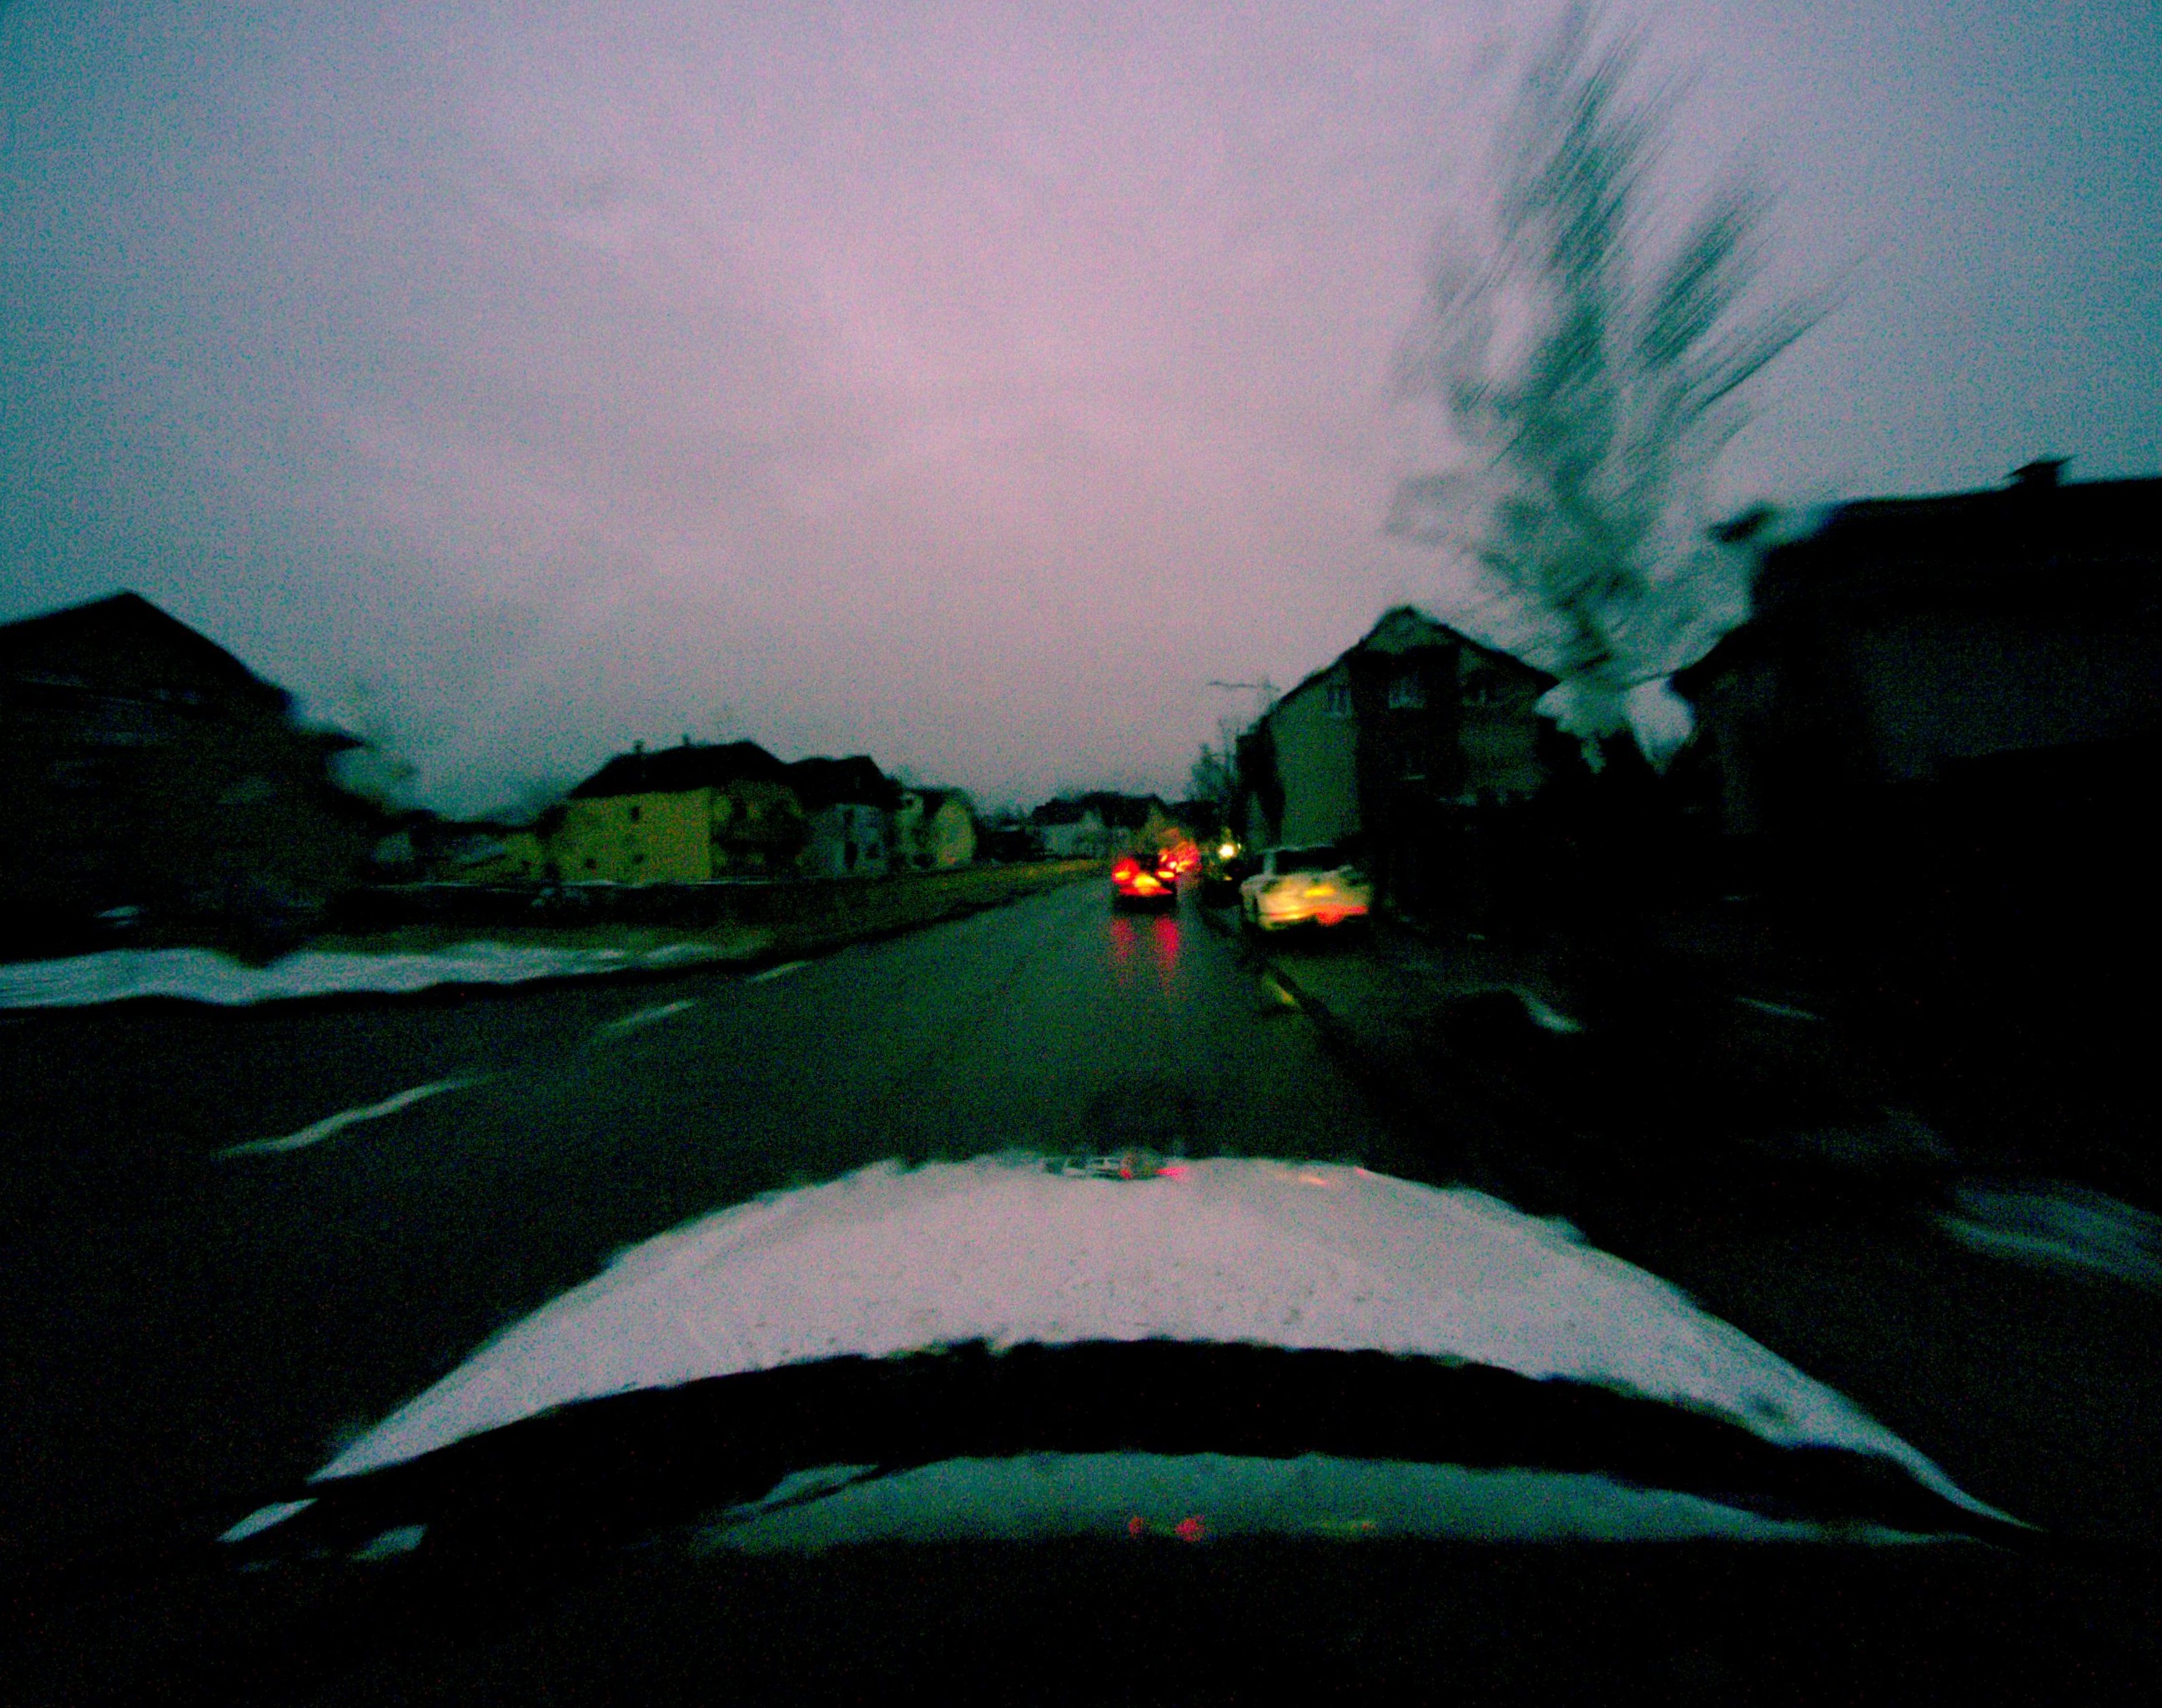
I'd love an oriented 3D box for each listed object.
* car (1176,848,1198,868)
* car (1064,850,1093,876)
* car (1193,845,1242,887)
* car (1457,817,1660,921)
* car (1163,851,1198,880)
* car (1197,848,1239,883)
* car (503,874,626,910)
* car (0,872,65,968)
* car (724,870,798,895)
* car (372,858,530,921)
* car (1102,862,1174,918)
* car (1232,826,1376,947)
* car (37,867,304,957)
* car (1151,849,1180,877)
[{"bbox_3d":[11.131,0.477,85.670,1.981,2.014,4.012,-2,-1,11],"label":"car"},{"bbox_3d":[-0.187,0.778,66.639,1.984,2.014,4.005,-2,-1,4],"label":"car"},{"bbox_3d":[5.939,0.520,35.090,1.981,1.670,4.012,0,-1,11],"label":"car"},{"bbox_3d":[8.607,0.227,15.158,1.955,1.583,4.351,-3,0,12],"label":"car"},{"bbox_3d":[6.086,0.684,49.768,1.983,1.679,4.008,0,0,7],"label":"car"},{"bbox_3d":[7.297,0.586,43.138,1.980,1.670,4.013,-2,0,11],"label":"car"},{"bbox_3d":[-21.385,1.531,33.928,1.980,1.307,4.127,0,0,13],"label":"car"},{"bbox_3d":[-24.062,1.437,16.418,1.906,2.013,4.011,-1,0,10],"label":"car"},{"bbox_3d":[-18.362,1.593,47.009,1.980,1.307,4.127,0,0,13],"label":"car"},{"bbox_3d":[-22.040,1.172,28.708,1.980,2.013,4.014,0,0,13],"label":"car"},{"bbox_3d":[1.812,1.029,24.942,1.984,1.525,4.006,-2,-1,5],"label":"car"},{"bbox_3d":[3.910,0.505,14.994,1.736,1.785,4.342,-4,0,5],"label":"car"},{"bbox_3d":[-23.579,1.415,21.370,1.981,2.013,4.234,-1,0,10],"label":"car"},{"bbox_3d":[6.402,0.700,61.443,1.982,2.014,4.009,-2,-1,9],"label":"car"}]
